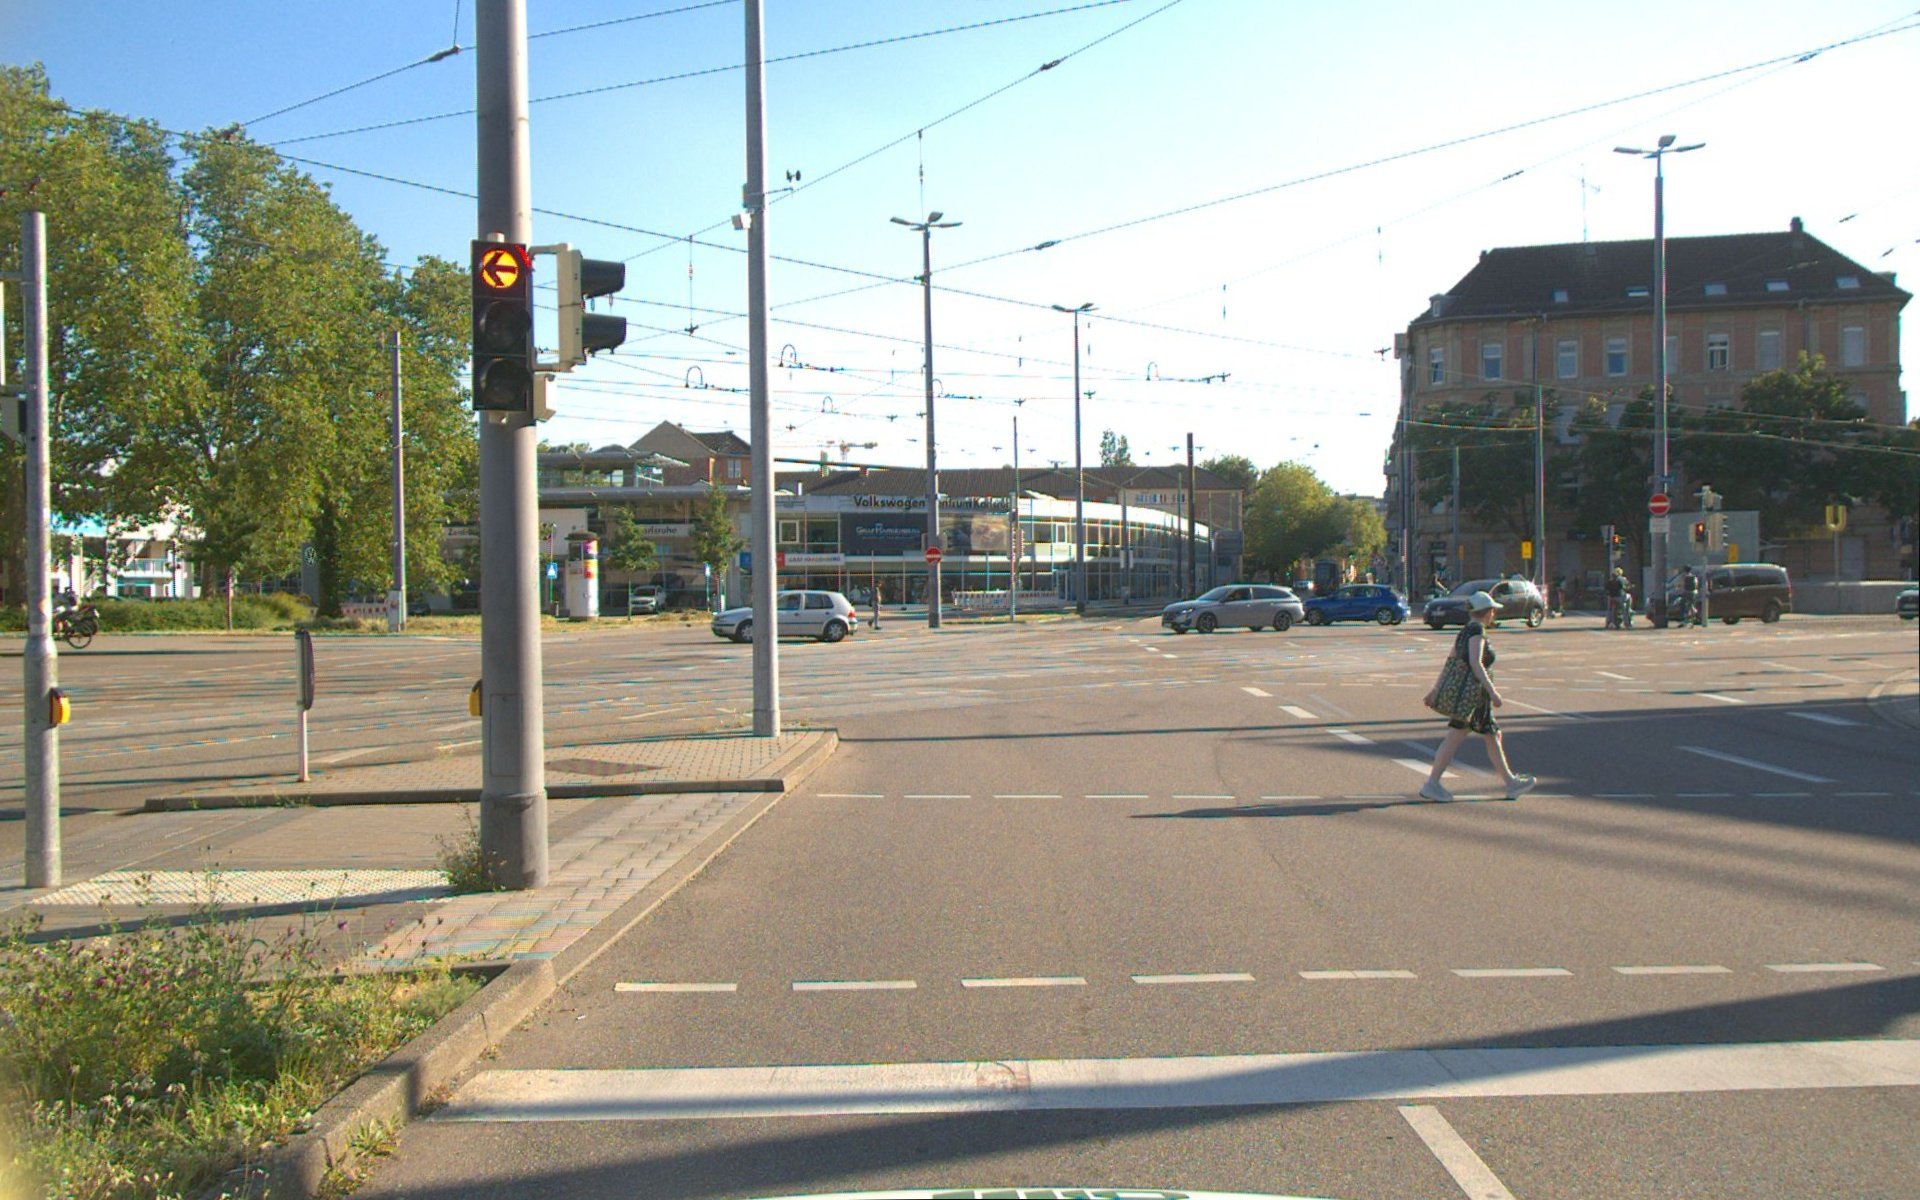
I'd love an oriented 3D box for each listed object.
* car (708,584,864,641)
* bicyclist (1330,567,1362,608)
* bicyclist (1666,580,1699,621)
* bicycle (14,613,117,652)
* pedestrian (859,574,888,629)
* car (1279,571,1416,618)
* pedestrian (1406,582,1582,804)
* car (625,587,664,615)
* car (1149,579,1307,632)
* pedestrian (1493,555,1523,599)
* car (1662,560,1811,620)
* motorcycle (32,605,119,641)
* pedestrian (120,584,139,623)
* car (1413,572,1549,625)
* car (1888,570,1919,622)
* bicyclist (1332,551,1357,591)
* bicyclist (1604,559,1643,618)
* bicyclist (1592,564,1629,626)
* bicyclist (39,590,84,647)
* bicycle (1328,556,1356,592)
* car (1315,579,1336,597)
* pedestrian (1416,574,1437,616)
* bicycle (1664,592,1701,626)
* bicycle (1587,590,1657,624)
[{"bbox_3d":[-4.881,0.327,46.318,4.034,1.477,1.942,-1,0,-20],"label":"car"},{"bbox_3d":[15.370,-0.510,65.857,0.911,1.586,0.854,-1,2,-22],"label":"bicyclist"},{"bbox_3d":[21.604,0.003,49.482,0.839,1.197,0.715,1,2,19],"label":"bicyclist"},{"bbox_3d":[-25.261,0.903,46.748,2.398,1.021,0.959,-1,0,-16],"label":"bicycle"},{"bbox_3d":[-2.976,0.046,57.221,0.969,1.847,0.920,0,2,-2],"label":"pedestrian"},{"bbox_3d":[13.951,-0.190,59.607,4.510,1.622,1.952,-1,0,25],"label":"car"},{"bbox_3d":[4.086,0.685,12.698,1.073,1.634,0.697,0,2,-11],"label":"pedestrian"},{"bbox_3d":[-19.376,0.025,101.623,1.955,1.561,3.996,0,2,-6],"label":"car"},{"bbox_3d":[8.300,0.154,51.240,4.480,1.544,1.941,-1,0,-22],"label":"car"},{"bbox_3d":[21.573,-0.899,65.170,0.905,1.705,0.783,-1,0,0],"label":"pedestrian"},{"bbox_3d":[25.848,-0.342,55.052,4.775,1.926,1.937,-1,0,-26],"label":"car"},{"bbox_3d":[-27.470,0.711,51.391,2.245,1.072,0.685,0,2,-13],"label":"motorcycle"},{"bbox_3d":[-43.007,0.179,85.638,0.576,2.049,0.710,-1,0,0],"label":"pedestrian"},{"bbox_3d":[15.734,-0.050,49.925,4.058,1.512,1.928,-1,0,-37],"label":"car"},{"bbox_3d":[36.027,-0.186,59.531,4.763,1.830,1.942,-1,0,-20],"label":"car"},{"bbox_3d":[19.147,-1.448,82.332,1.095,1.933,1.074,1,2,18],"label":"bicyclist"},{"bbox_3d":[19.837,-0.354,49.458,0.644,1.720,0.850,-1,2,-35],"label":"bicyclist"},{"bbox_3d":[19.306,-0.154,49.085,0.578,1.809,0.856,-1,0,-35],"label":"bicyclist"},{"bbox_3d":[-25.364,0.507,46.707,0.908,1.587,0.959,-1,0,-15],"label":"bicyclist"},{"bbox_3d":[19.011,-1.317,82.277,1.111,1.719,4.003,1,2,16],"label":"bicycle"},{"bbox_3d":[36.692,-1.218,166.088,1.763,1.684,3.922,1,2,10],"label":"car"},{"bbox_3d":[18.949,-0.207,67.129,0.634,1.682,0.549,-1,0,-38],"label":"pedestrian"},{"bbox_3d":[21.604,0.259,49.478,0.839,0.921,2.304,1,2,19],"label":"bicycle"},{"bbox_3d":[19.799,0.197,49.453,2.277,0.921,0.849,-1,2,-36],"label":"bicycle"}]
